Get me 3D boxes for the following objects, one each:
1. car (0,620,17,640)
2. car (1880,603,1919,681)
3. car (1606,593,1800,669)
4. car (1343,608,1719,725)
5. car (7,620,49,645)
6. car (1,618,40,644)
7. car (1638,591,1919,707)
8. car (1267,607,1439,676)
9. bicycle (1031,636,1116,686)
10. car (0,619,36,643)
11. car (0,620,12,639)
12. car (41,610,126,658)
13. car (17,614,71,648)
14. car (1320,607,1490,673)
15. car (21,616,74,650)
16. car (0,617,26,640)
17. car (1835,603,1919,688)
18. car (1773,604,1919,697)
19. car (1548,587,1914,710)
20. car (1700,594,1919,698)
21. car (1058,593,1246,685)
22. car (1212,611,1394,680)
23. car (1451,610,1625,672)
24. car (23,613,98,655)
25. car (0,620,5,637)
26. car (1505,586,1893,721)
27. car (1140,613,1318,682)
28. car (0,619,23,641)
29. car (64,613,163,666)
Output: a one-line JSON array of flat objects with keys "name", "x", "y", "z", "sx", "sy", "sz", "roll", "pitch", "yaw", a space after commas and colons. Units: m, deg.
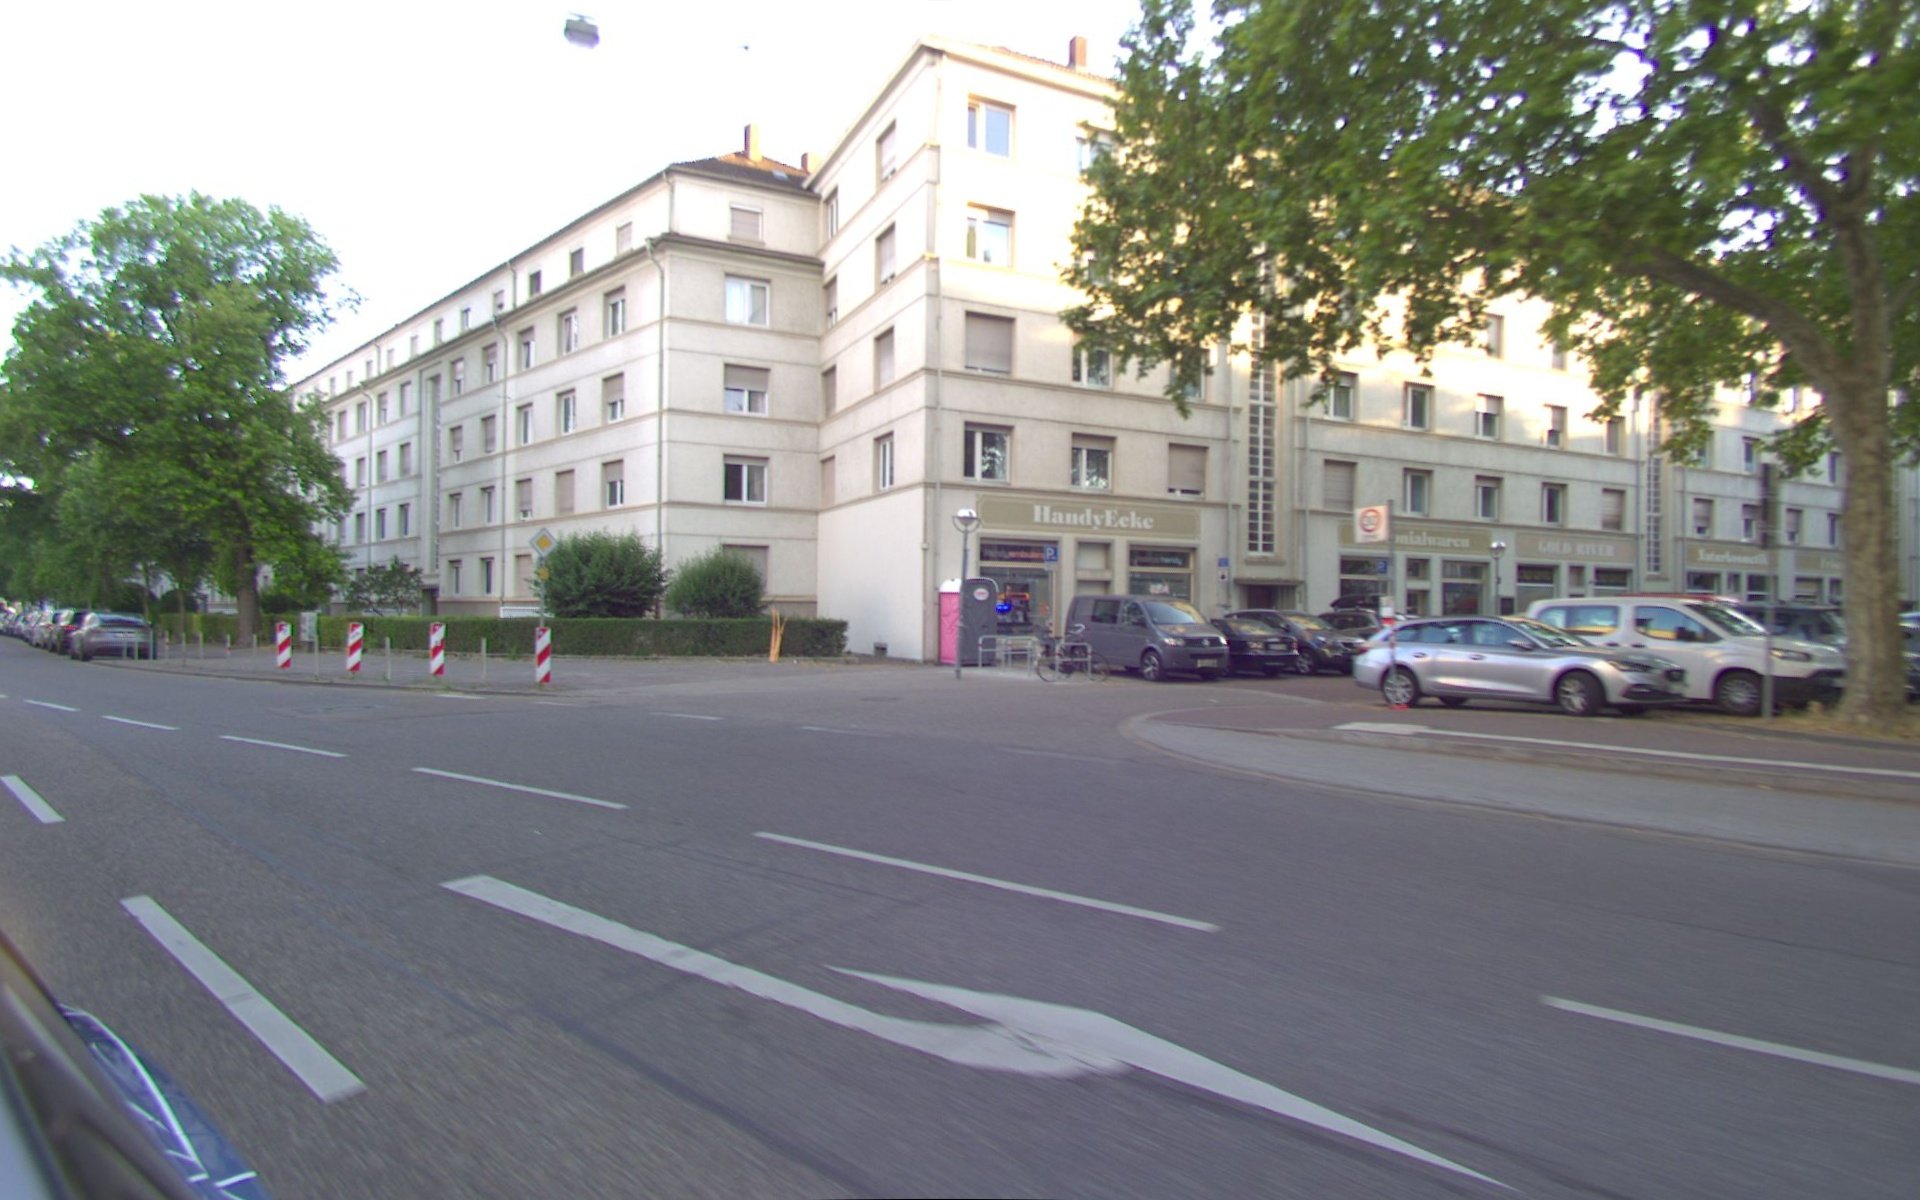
[{"name": "car", "x": -73.908, "y": 2.279, "z": 77.833, "sx": 4.484, "sy": 1.471, "sz": 1.673, "roll": -1, "pitch": -5, "yaw": 44}, {"name": "car", "x": 24.654, "y": 0.974, "z": 23.343, "sx": 2.049, "sy": 1.855, "sz": 4.645, "roll": 1, "pitch": -2, "yaw": -30}, {"name": "car", "x": 26.484, "y": 1.035, "z": 36.317, "sx": 1.965, "sy": 2.522, "sz": 5.303, "roll": 1, "pitch": 0, "yaw": -26}, {"name": "car", "x": 8.368, "y": 0.920, "z": 15.323, "sx": 1.794, "sy": 1.493, "sz": 4.643, "roll": 1, "pitch": -2, "yaw": -33}, {"name": "car", "x": -56.736, "y": 1.949, "z": 61.595, "sx": 4.182, "sy": 1.415, "sz": 1.572, "roll": -1, "pitch": -5, "yaw": 44}, {"name": "car", "x": -59.851, "y": 1.943, "z": 64.468, "sx": 3.164, "sy": 1.541, "sz": 1.506, "roll": -1, "pitch": -4, "yaw": 42}, {"name": "car", "x": 15.434, "y": 0.858, "z": 18.476, "sx": 2.049, "sy": 1.855, "sz": 4.646, "roll": 1, "pitch": -2, "yaw": -27}, {"name": "car", "x": 10.908, "y": 1.078, "z": 28.427, "sx": 1.897, "sy": 1.763, "sz": 4.353, "roll": 1, "pitch": 0, "yaw": -27}, {"name": "bicycle", "x": 2.486, "y": 1.319, "z": 22.141, "sx": 1.793, "sy": 1.050, "sz": 0.481, "roll": 0, "pitch": -1, "yaw": -14}, {"name": "car", "x": -62.862, "y": 2.060, "z": 67.330, "sx": 4.101, "sy": 1.477, "sz": 1.573, "roll": -1, "pitch": -4, "yaw": 42}, {"name": "car", "x": -77.471, "y": 2.341, "z": 81.151, "sx": 4.144, "sy": 1.471, "sz": 1.674, "roll": -1, "pitch": -4, "yaw": 42}, {"name": "car", "x": -33.880, "y": 1.290, "z": 39.084, "sx": 4.771, "sy": 1.732, "sz": 1.932, "roll": -1, "pitch": -3, "yaw": 43}, {"name": "car", "x": -46.788, "y": 1.587, "z": 51.661, "sx": 4.117, "sy": 1.613, "sz": 1.688, "roll": -1, "pitch": -5, "yaw": 44}, {"name": "car", "x": 13.031, "y": 1.113, "z": 29.918, "sx": 1.897, "sy": 1.763, "sz": 4.353, "roll": 1, "pitch": 0, "yaw": -27}, {"name": "car", "x": -43.302, "y": 1.550, "z": 48.055, "sx": 1.711, "sy": 1.508, "sz": 4.275, "roll": 4, "pitch": -3, "yaw": -42}, {"name": "car", "x": -66.287, "y": 1.997, "z": 70.570, "sx": 1.571, "sy": 1.541, "sz": 2.923, "roll": 6, "pitch": -5, "yaw": -44}, {"name": "car", "x": 22.336, "y": 0.988, "z": 21.927, "sx": 2.049, "sy": 1.855, "sz": 4.645, "roll": 1, "pitch": -2, "yaw": -30}, {"name": "car", "x": 19.966, "y": 1.015, "z": 20.768, "sx": 2.049, "sy": 1.855, "sz": 4.646, "roll": 1, "pitch": -2, "yaw": -27}, {"name": "car", "x": 13.269, "y": 0.810, "z": 17.793, "sx": 2.049, "sy": 1.855, "sz": 4.646, "roll": 1, "pitch": -2, "yaw": -27}, {"name": "car", "x": 17.625, "y": 0.874, "z": 19.780, "sx": 2.049, "sy": 1.855, "sz": 4.646, "roll": 1, "pitch": -2, "yaw": -27}, {"name": "car", "x": 4.500, "y": 0.863, "z": 24.609, "sx": 1.965, "sy": 1.988, "sz": 4.862, "roll": 1, "pitch": 0, "yaw": -26}, {"name": "car", "x": 8.901, "y": 1.124, "z": 26.645, "sx": 2.014, "sy": 1.607, "sz": 4.353, "roll": 1, "pitch": 0, "yaw": -27}, {"name": "car", "x": 17.848, "y": 1.196, "z": 31.463, "sx": 1.897, "sy": 1.763, "sz": 4.353, "roll": 1, "pitch": 0, "yaw": -27}, {"name": "car", "x": -39.254, "y": 1.460, "z": 44.121, "sx": 4.858, "sy": 1.704, "sz": 1.827, "roll": -1, "pitch": -3, "yaw": 42}, {"name": "car", "x": -84.482, "y": 2.448, "z": 88.053, "sx": 3.704, "sy": 1.471, "sz": 1.657, "roll": -1, "pitch": -4, "yaw": 41}, {"name": "car", "x": 11.440, "y": 0.796, "z": 16.114, "sx": 1.793, "sy": 1.814, "sz": 4.646, "roll": 1, "pitch": -2, "yaw": -27}, {"name": "car", "x": 6.670, "y": 1.116, "z": 25.569, "sx": 1.897, "sy": 1.550, "sz": 4.353, "roll": 1, "pitch": 0, "yaw": -27}, {"name": "car", "x": -69.344, "y": 2.165, "z": 73.517, "sx": 3.800, "sy": 1.516, "sz": 1.572, "roll": -1, "pitch": -5, "yaw": 44}, {"name": "car", "x": -28.181, "y": 1.303, "z": 33.629, "sx": 4.605, "sy": 1.629, "sz": 1.932, "roll": -1, "pitch": -3, "yaw": 43}]
